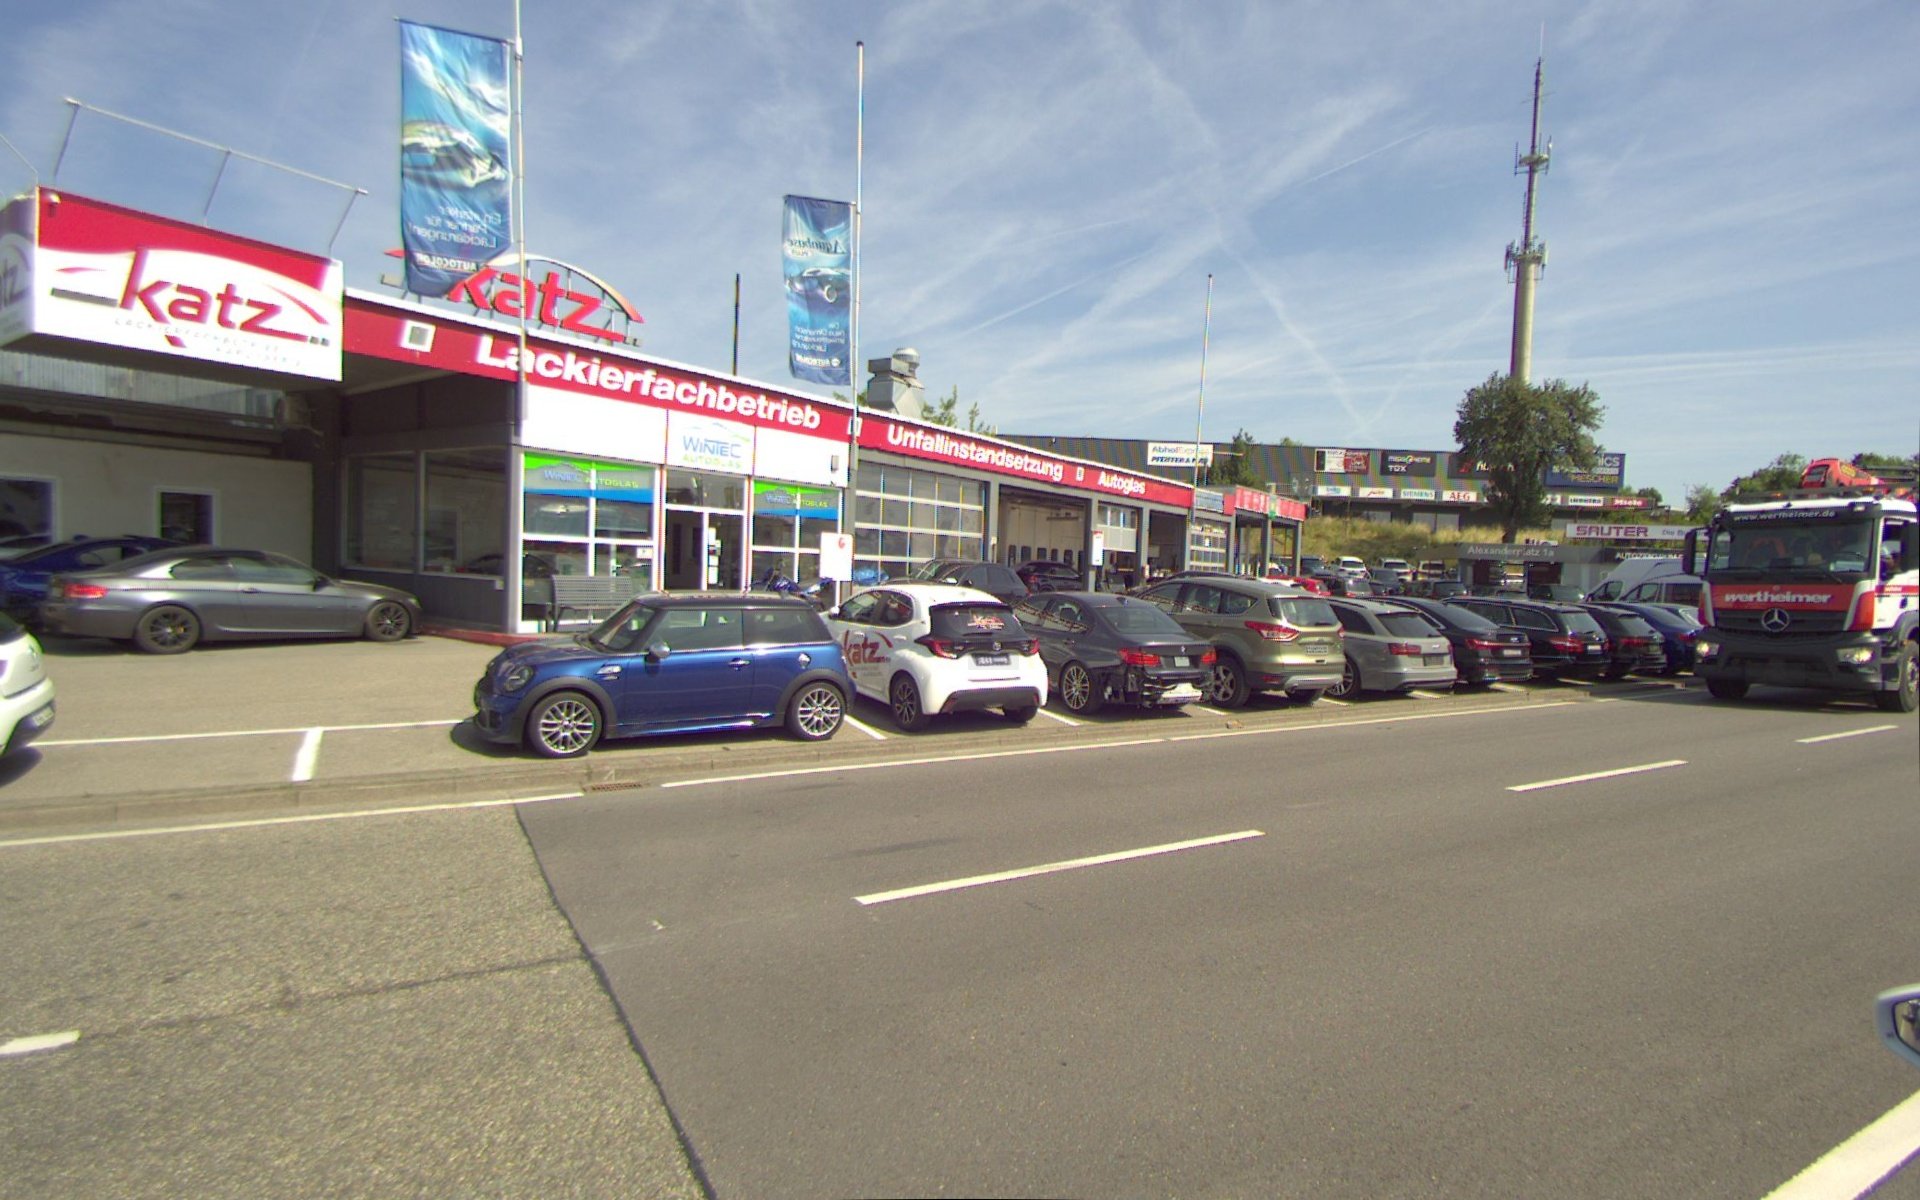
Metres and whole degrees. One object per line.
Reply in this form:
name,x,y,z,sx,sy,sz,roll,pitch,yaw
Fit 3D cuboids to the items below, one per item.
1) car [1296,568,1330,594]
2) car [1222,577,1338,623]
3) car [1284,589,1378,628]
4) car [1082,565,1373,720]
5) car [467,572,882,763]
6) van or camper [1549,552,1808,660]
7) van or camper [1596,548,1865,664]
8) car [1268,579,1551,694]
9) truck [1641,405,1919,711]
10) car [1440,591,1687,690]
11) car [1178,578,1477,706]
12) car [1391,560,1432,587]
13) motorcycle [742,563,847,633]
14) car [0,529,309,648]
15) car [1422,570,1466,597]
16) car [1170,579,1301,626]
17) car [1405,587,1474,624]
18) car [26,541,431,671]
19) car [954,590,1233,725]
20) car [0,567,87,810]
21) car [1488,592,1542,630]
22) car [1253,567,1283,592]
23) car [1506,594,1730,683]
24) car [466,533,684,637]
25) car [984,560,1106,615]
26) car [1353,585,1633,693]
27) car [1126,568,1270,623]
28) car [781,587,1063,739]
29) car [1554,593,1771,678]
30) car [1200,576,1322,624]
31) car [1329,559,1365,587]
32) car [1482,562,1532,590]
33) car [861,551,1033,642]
car,21.511,-1.152,61.310,1.702,1.470,3.750,2,1,17
car,11.975,-0.021,37.640,3.765,1.609,1.763,1,1,35
car,16.367,0.358,44.448,1.745,1.609,3.806,1,1,-24
car,3.766,0.494,14.773,1.788,1.740,3.861,0,5,-34
car,-2.885,0.583,10.265,3.738,1.514,1.770,1,5,-31
van or camper,21.268,0.084,30.069,2.264,2.912,5.859,0,2,-32
van or camper,20.348,0.082,26.832,2.185,2.768,5.218,0,1,-31
car,7.876,0.546,18.022,1.779,1.505,4.271,0,5,-34
truck,16.428,-0.529,18.030,10.526,4.265,2.941,1,-1,-32
car,12.081,0.726,20.333,1.783,1.505,3.820,0,5,-34
car,5.783,0.564,16.338,1.817,1.505,4.250,0,5,-34
car,26.740,-1.550,59.599,1.702,1.470,3.750,2,1,17
motorcycle,-3.177,-0.030,19.464,0.760,1.278,2.047,1,0,37
car,-12.793,-0.267,15.732,1.828,1.525,3.987,6,6,34
car,28.531,-0.964,59.272,1.702,1.470,3.750,2,1,17
car,9.028,0.062,32.988,3.765,1.451,1.763,1,1,35
car,21.990,0.224,46.177,1.733,1.609,3.831,1,0,8
car,-10.324,-0.036,14.539,1.829,1.525,4.380,5,5,35
car,1.667,0.655,13.627,1.773,1.546,3.685,0,0,-34
car,-8.559,0.559,6.617,3.954,1.640,1.770,1,1,-31
car,24.437,0.458,44.341,1.735,1.609,3.826,1,1,24
car,19.055,-1.253,62.217,1.702,1.470,3.750,2,1,17
car,14.195,0.755,21.871,1.689,1.577,3.684,-1,4,-33
car,-7.549,-0.307,20.012,1.675,1.783,3.751,6,3,33
car,2.861,-0.386,33.306,3.989,1.694,1.886,0,1,-45
car,10.152,0.650,19.495,1.753,1.505,4.431,0,5,-34
car,7.189,-0.155,30.446,3.885,1.553,1.763,1,1,35
car,-0.621,0.642,12.532,1.827,1.546,3.772,0,1,-34
car,16.210,0.751,23.339,1.690,1.505,3.684,0,5,-34
car,10.621,-0.030,35.532,3.765,1.609,1.763,1,1,35
car,23.428,-1.637,60.893,1.702,1.558,3.750,2,1,17
car,31.467,-1.370,57.864,1.702,1.470,3.750,2,1,17
car,-0.190,-0.062,22.661,1.796,1.696,4.117,8,3,32
